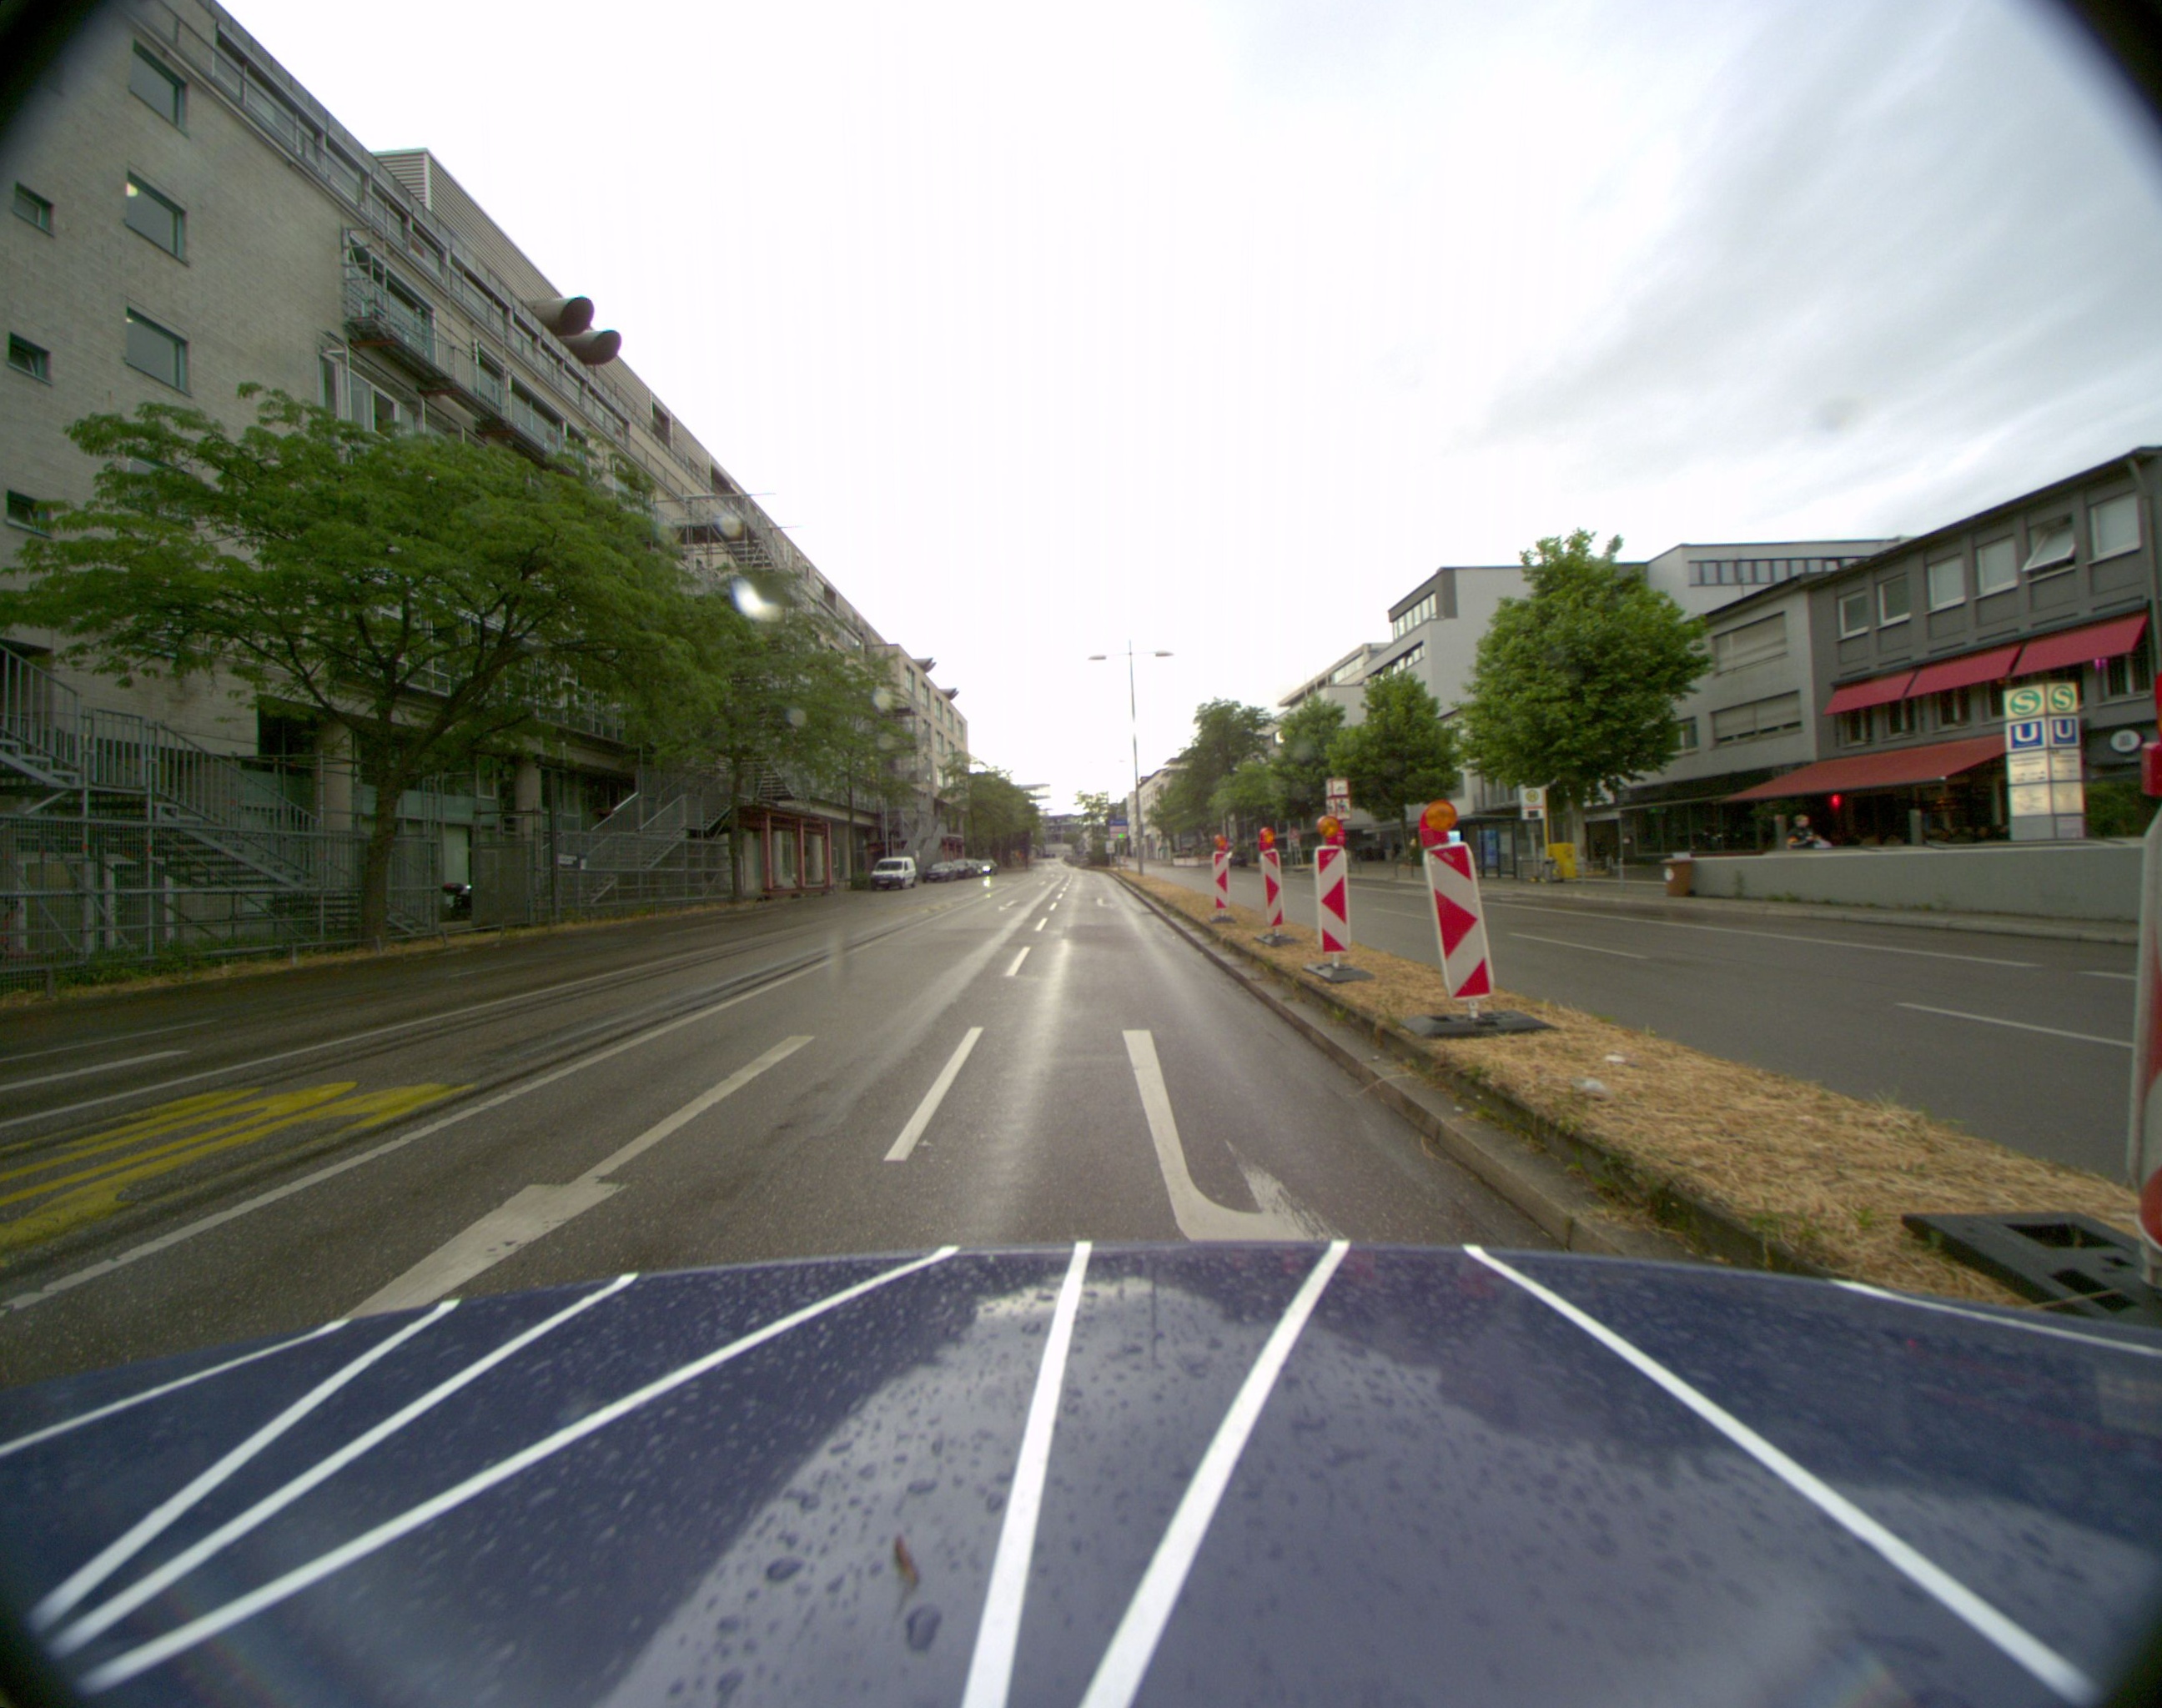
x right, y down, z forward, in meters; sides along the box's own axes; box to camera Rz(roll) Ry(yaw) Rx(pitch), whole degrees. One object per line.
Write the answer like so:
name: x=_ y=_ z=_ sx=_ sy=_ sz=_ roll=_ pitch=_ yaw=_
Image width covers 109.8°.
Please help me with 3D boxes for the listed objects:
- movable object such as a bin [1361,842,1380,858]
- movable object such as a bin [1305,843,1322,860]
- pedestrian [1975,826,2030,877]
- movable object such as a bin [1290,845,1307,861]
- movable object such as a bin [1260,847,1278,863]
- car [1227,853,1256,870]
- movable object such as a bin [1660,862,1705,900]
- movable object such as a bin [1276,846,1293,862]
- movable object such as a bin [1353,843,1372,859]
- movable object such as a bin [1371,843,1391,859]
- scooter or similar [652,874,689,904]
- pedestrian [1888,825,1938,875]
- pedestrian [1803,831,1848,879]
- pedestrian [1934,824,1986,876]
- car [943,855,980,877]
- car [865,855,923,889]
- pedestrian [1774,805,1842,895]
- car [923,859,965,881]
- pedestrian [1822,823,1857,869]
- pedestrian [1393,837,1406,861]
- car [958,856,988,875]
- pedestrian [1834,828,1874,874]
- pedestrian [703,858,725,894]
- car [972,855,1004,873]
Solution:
movable object such as a bin: x=26.842 y=-0.351 z=70.402 sx=1.088 sy=1.427 sz=1.281 roll=-2 pitch=0 yaw=-9
movable object such as a bin: x=21.709 y=-0.220 z=70.922 sx=1.281 sy=1.480 sz=1.088 roll=-2 pitch=1 yaw=1
pedestrian: x=24.925 y=-0.057 z=20.562 sx=0.635 sy=1.336 sz=0.691 roll=-2 pitch=1 yaw=-6
movable object such as a bin: x=20.314 y=-0.104 z=70.931 sx=1.281 sy=1.418 sz=1.088 roll=-2 pitch=1 yaw=1
movable object such as a bin: x=17.523 y=0.054 z=70.904 sx=1.362 sy=1.418 sz=1.088 roll=-2 pitch=1 yaw=1
car: x=15.667 y=0.749 z=74.428 sx=1.783 sy=1.626 sz=4.023 roll=-2 pitch=0 yaw=-2
movable object such as a bin: x=14.523 y=0.646 z=18.355 sx=0.533 sy=0.892 sz=0.682 roll=0 pitch=0 yaw=-9
movable object such as a bin: x=18.963 y=0.017 z=70.906 sx=1.281 sy=1.418 sz=1.088 roll=-2 pitch=1 yaw=1
movable object such as a bin: x=26.654 y=-0.295 z=71.940 sx=1.088 sy=1.427 sz=1.281 roll=-2 pitch=0 yaw=-9
movable object such as a bin: x=27.248 y=-0.273 z=69.023 sx=1.088 sy=1.427 sz=1.281 roll=-2 pitch=0 yaw=-9
scooter or similar: x=-17.174 y=1.453 z=31.838 sx=0.633 sy=1.155 sz=1.547 roll=-2 pitch=0 yaw=1
pedestrian: x=24.953 y=-0.119 z=22.799 sx=0.728 sy=1.442 sz=0.691 roll=-2 pitch=1 yaw=-6
pedestrian: x=23.187 y=0.031 z=23.667 sx=0.691 sy=1.442 sz=0.707 roll=-2 pitch=1 yaw=-4
pedestrian: x=24.779 y=-0.109 z=21.422 sx=0.635 sy=1.442 sz=0.691 roll=-2 pitch=1 yaw=-6
car: x=-9.584 y=0.946 z=61.345 sx=1.998 sy=1.636 sz=4.863 roll=-2 pitch=0 yaw=3
car: x=-10.444 y=0.958 z=42.807 sx=1.998 sy=1.739 sz=4.526 roll=-2 pitch=0 yaw=1
pedestrian: x=15.668 y=-0.087 z=16.393 sx=0.691 sy=1.874 sz=0.758 roll=-2 pitch=1 yaw=-4
car: x=-9.773 y=1.103 z=54.553 sx=1.873 sy=1.429 sz=4.922 roll=-2 pitch=0 yaw=3
pedestrian: x=25.990 y=-0.272 z=26.048 sx=0.598 sy=1.561 sz=0.604 roll=-2 pitch=1 yaw=-9
pedestrian: x=24.110 y=-0.376 z=57.553 sx=0.698 sy=1.753 sz=0.653 roll=-1 pitch=1 yaw=3
car: x=-9.440 y=0.958 z=66.720 sx=1.866 sy=1.591 sz=4.593 roll=-2 pitch=0 yaw=1
pedestrian: x=24.911 y=-0.088 z=24.488 sx=0.691 sy=1.442 sz=0.547 roll=-2 pitch=1 yaw=-4
pedestrian: x=-18.025 y=1.080 z=37.341 sx=0.677 sy=1.732 sz=0.653 roll=-1 pitch=1 yaw=3
car: x=-8.846 y=0.944 z=72.639 sx=1.998 sy=1.591 sz=5.290 roll=-2 pitch=0 yaw=4
